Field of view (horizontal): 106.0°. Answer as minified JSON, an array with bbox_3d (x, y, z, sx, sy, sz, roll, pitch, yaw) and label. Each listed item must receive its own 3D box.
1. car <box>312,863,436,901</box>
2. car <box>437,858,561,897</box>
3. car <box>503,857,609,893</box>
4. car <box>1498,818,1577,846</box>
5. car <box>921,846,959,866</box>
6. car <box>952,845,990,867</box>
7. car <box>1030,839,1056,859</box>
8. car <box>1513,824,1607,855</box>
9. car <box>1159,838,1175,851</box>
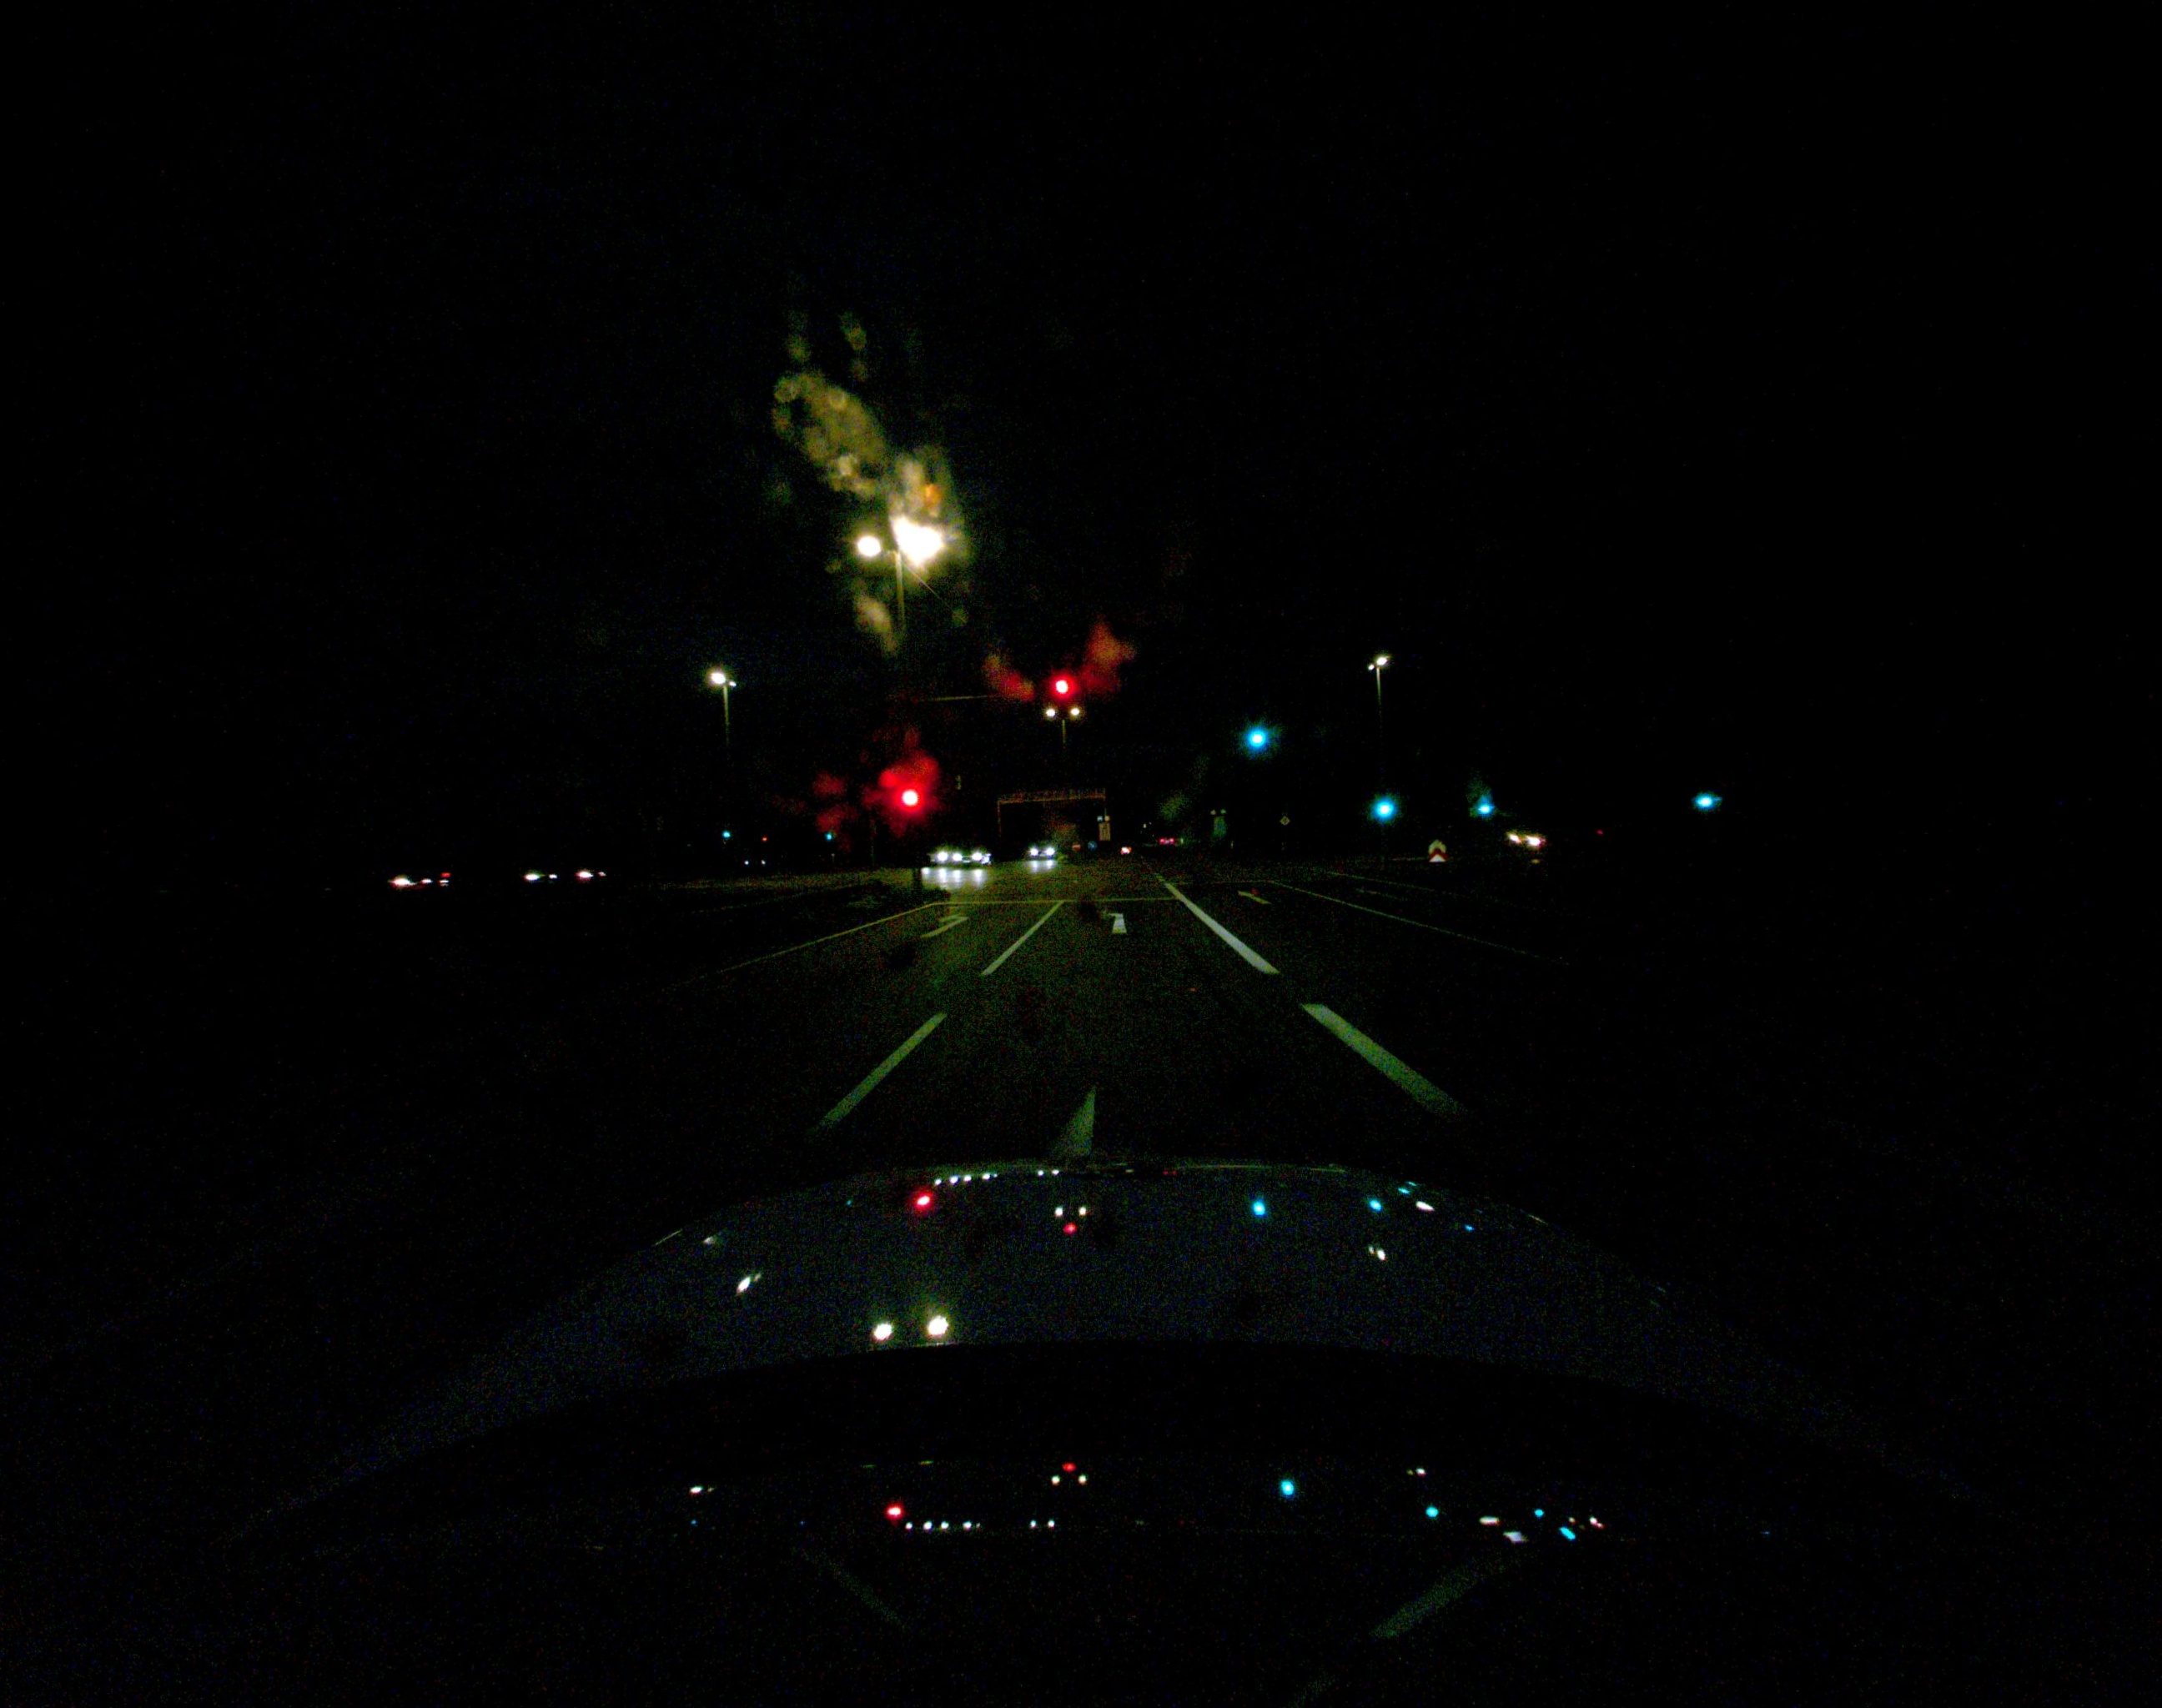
[{"bbox_3d":[-32.327,1.258,37.316,3.979,1.473,1.727,-3,0,-4],"label":"car"},{"bbox_3d":[-26.223,1.054,36.808,4.297,1.537,1.730,-2,0,1],"label":"car"},{"bbox_3d":[-25.925,1.006,40.287,4.028,1.537,1.729,-2,0,-1],"label":"car"},{"bbox_3d":[29.206,-1.412,52.164,3.975,1.569,1.900,-2,1,-1],"label":"car"},{"bbox_3d":[-11.090,0.107,64.325,1.986,1.425,4.534,-2,1,2],"label":"car"},{"bbox_3d":[-7.945,0.116,59.349,1.986,1.481,4.684,-2,1,2],"label":"car"},{"bbox_3d":[-3.365,-0.465,73.650,1.986,1.698,4.002,-2,1,2],"label":"car"},{"bbox_3d":[26.644,-0.825,45.404,4.061,1.569,2.002,-2,1,-1],"label":"car"},{"bbox_3d":[11.405,-1.298,107.766,1.998,1.611,3.851,-2,0,5],"label":"car"}]
